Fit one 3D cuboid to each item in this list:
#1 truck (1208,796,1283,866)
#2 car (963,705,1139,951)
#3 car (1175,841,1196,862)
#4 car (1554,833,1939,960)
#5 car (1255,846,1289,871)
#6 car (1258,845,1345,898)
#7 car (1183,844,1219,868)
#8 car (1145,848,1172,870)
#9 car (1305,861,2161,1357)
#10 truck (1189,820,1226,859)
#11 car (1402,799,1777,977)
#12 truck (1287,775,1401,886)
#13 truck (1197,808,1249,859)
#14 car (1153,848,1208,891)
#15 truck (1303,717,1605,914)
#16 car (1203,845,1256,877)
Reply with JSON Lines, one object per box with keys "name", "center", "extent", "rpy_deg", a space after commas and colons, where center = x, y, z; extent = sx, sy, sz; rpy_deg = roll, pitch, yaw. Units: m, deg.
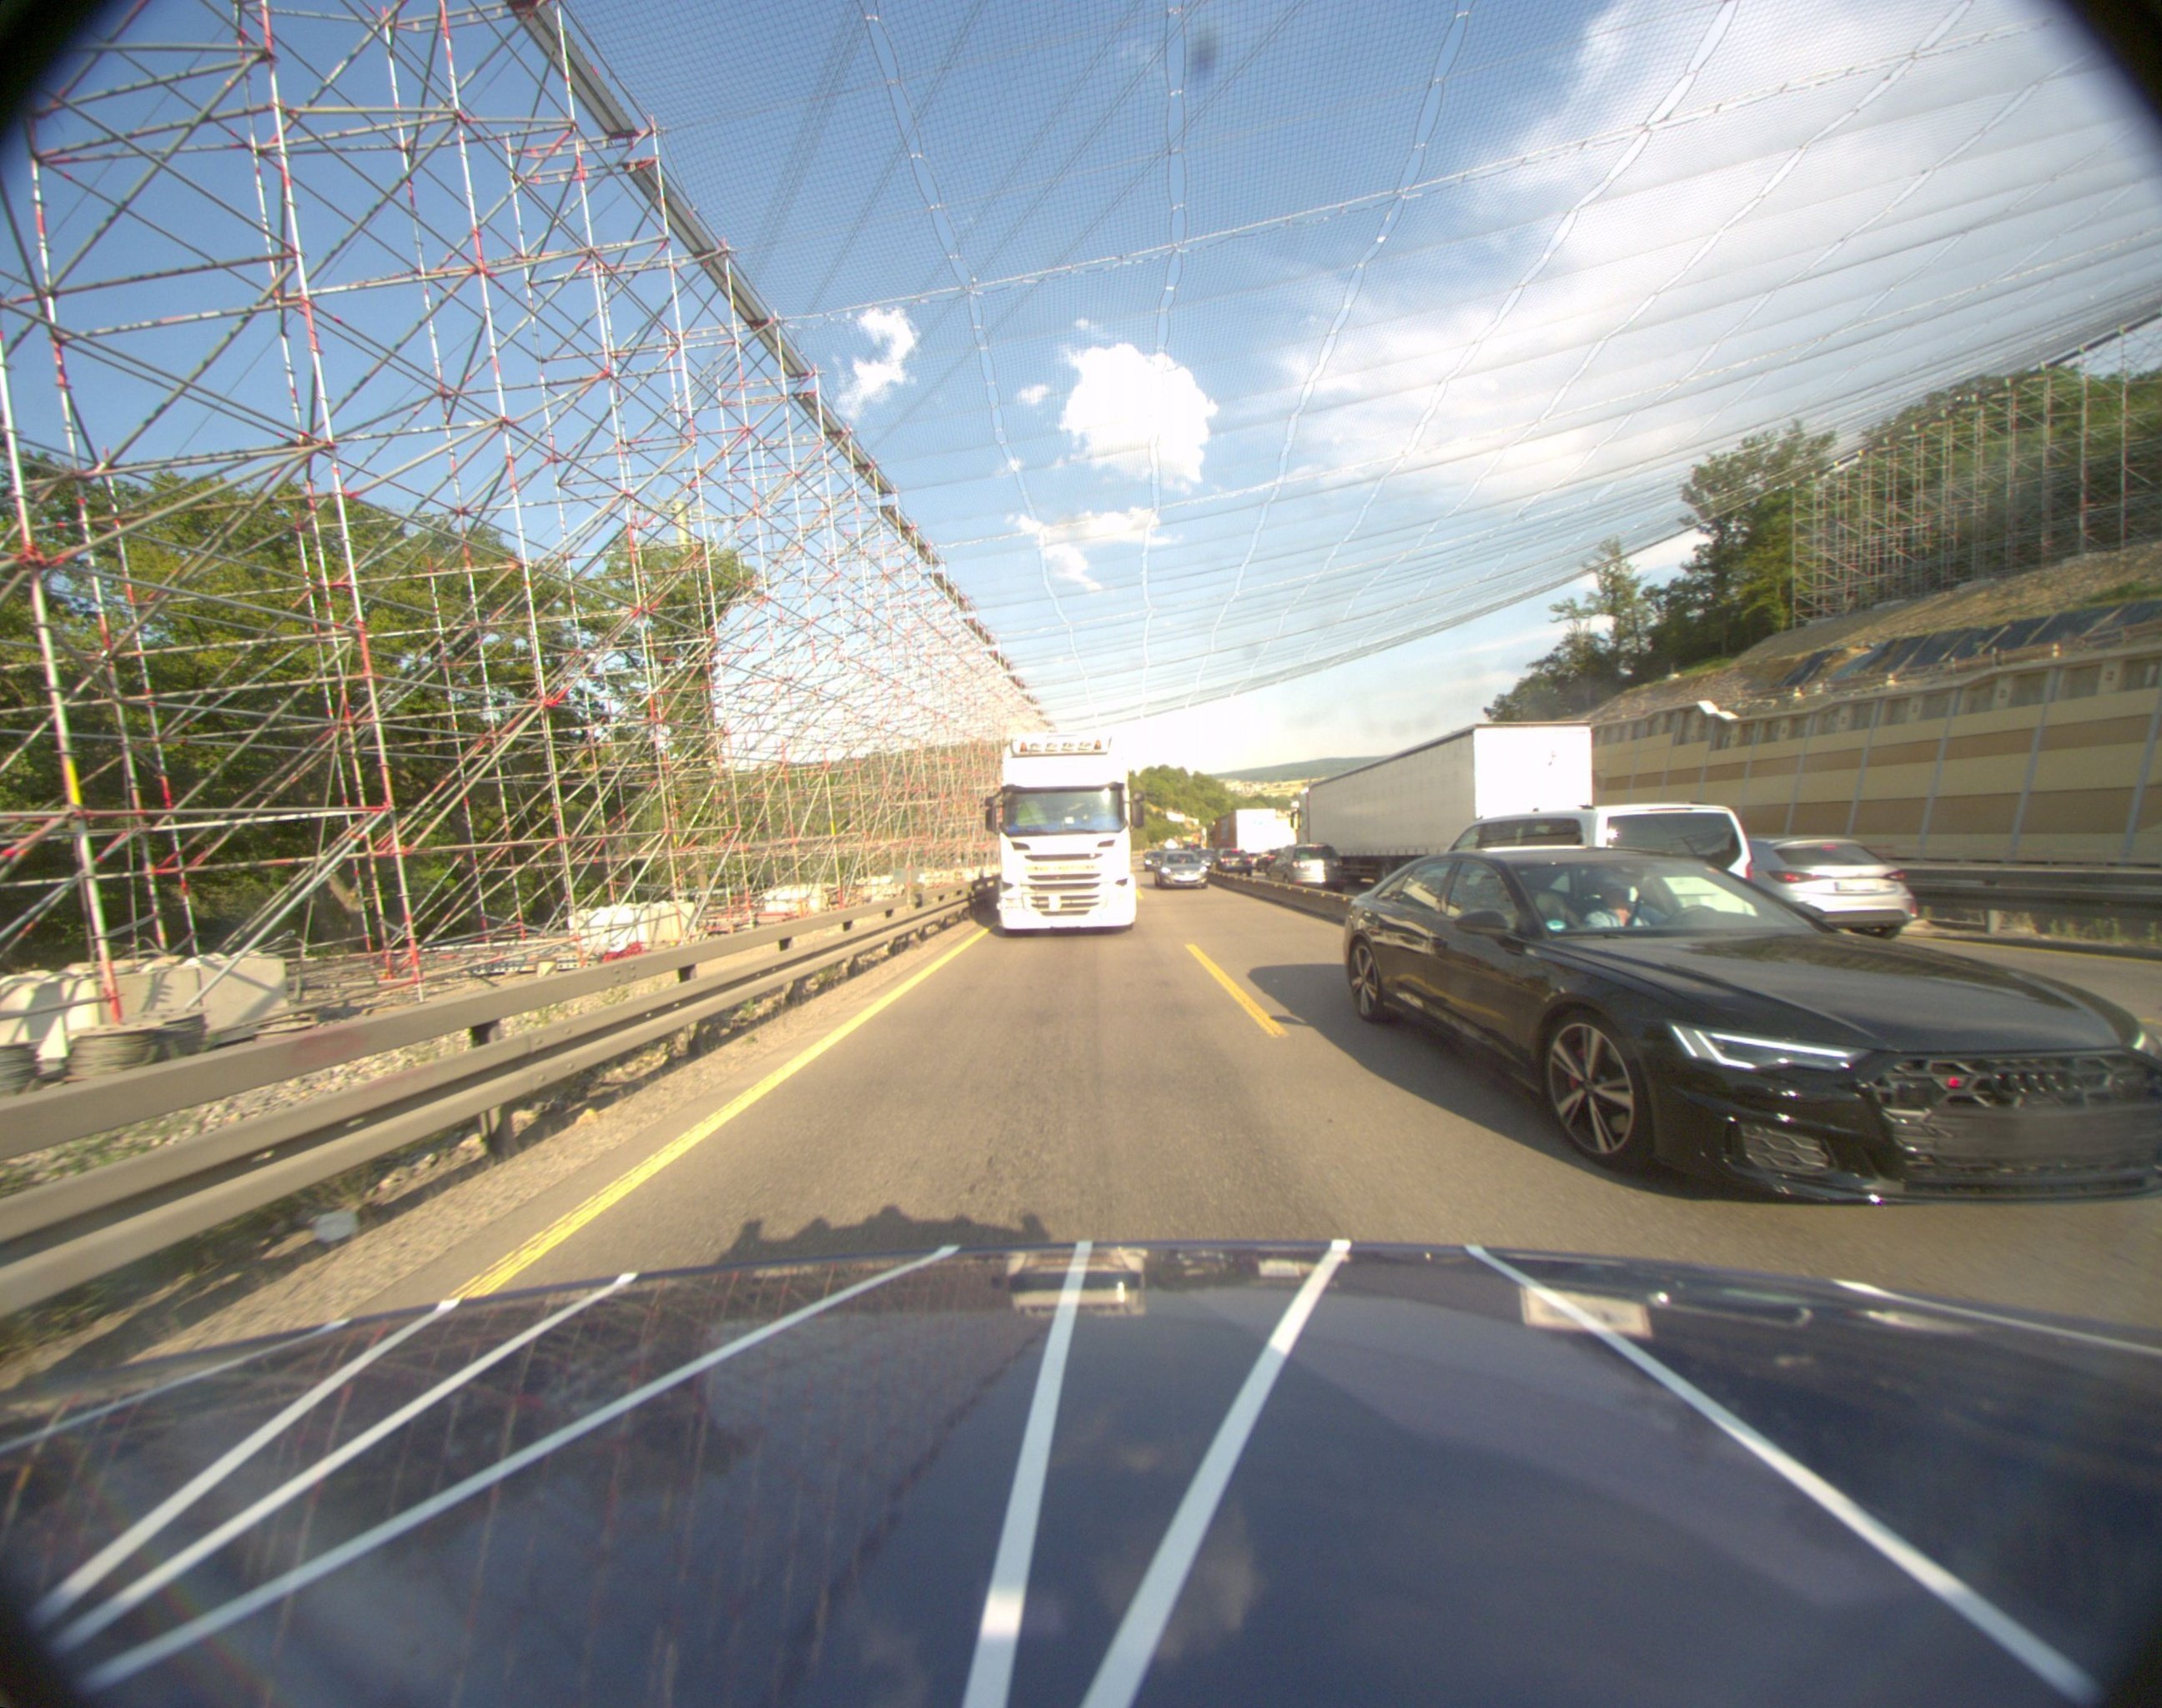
{"name": "truck", "center": [12.368, -1.656, 59.095], "extent": [2.994, 4.532, 17.409], "rpy_deg": [-2, 1, 4]}
{"name": "car", "center": [-0.296, -0.486, 17.142], "extent": [2.858, 4.092, 8.281], "rpy_deg": [-2, 1, 3]}
{"name": "car", "center": [9.413, -0.231, 68.375], "extent": [1.725, 1.816, 3.294], "rpy_deg": [-2, 1, 6]}
{"name": "car", "center": [9.895, 0.510, 11.996], "extent": [1.796, 1.531, 4.909], "rpy_deg": [-2, 1, 1]}
{"name": "car", "center": [11.270, 0.241, 45.014], "extent": [1.370, 1.407, 3.293], "rpy_deg": [-2, 1, 4]}
{"name": "car", "center": [7.086, 0.497, 24.814], "extent": [1.586, 1.543, 4.218], "rpy_deg": [-2, 1, 1]}
{"name": "car", "center": [8.248, 0.124, 52.658], "extent": [1.939, 1.510, 4.979], "rpy_deg": [-2, 1, 4]}
{"name": "car", "center": [5.417, 0.333, 53.434], "extent": [1.764, 1.376, 3.823], "rpy_deg": [-2, 1, 5]}
{"name": "car", "center": [3.155, 0.809, 4.823], "extent": [1.939, 1.390, 4.960], "rpy_deg": [-3, 0, 0]}
{"name": "truck", "center": [16.239, -1.850, 98.864], "extent": [2.994, 4.532, 17.409], "rpy_deg": [-2, 1, 4]}
{"name": "car", "center": [6.617, 0.338, 10.850], "extent": [1.813, 1.858, 5.281], "rpy_deg": [-2, 1, 0]}
{"name": "truck", "center": [10.303, -0.874, 30.408], "extent": [2.522, 3.885, 6.048], "rpy_deg": [-2, 1, 2]}
{"name": "truck", "center": [14.249, -1.976, 77.688], "extent": [2.994, 4.532, 17.409], "rpy_deg": [-2, 1, 4]}
{"name": "car", "center": [3.801, 0.552, 29.640], "extent": [1.759, 1.464, 4.353], "rpy_deg": [-2, 1, 3]}
{"name": "truck", "center": [10.244, -0.925, 23.747], "extent": [2.728, 4.202, 14.167], "rpy_deg": [-2, 1, 2]}
{"name": "car", "center": [7.785, 0.318, 40.224], "extent": [1.939, 1.525, 4.645], "rpy_deg": [-2, 1, 1]}
